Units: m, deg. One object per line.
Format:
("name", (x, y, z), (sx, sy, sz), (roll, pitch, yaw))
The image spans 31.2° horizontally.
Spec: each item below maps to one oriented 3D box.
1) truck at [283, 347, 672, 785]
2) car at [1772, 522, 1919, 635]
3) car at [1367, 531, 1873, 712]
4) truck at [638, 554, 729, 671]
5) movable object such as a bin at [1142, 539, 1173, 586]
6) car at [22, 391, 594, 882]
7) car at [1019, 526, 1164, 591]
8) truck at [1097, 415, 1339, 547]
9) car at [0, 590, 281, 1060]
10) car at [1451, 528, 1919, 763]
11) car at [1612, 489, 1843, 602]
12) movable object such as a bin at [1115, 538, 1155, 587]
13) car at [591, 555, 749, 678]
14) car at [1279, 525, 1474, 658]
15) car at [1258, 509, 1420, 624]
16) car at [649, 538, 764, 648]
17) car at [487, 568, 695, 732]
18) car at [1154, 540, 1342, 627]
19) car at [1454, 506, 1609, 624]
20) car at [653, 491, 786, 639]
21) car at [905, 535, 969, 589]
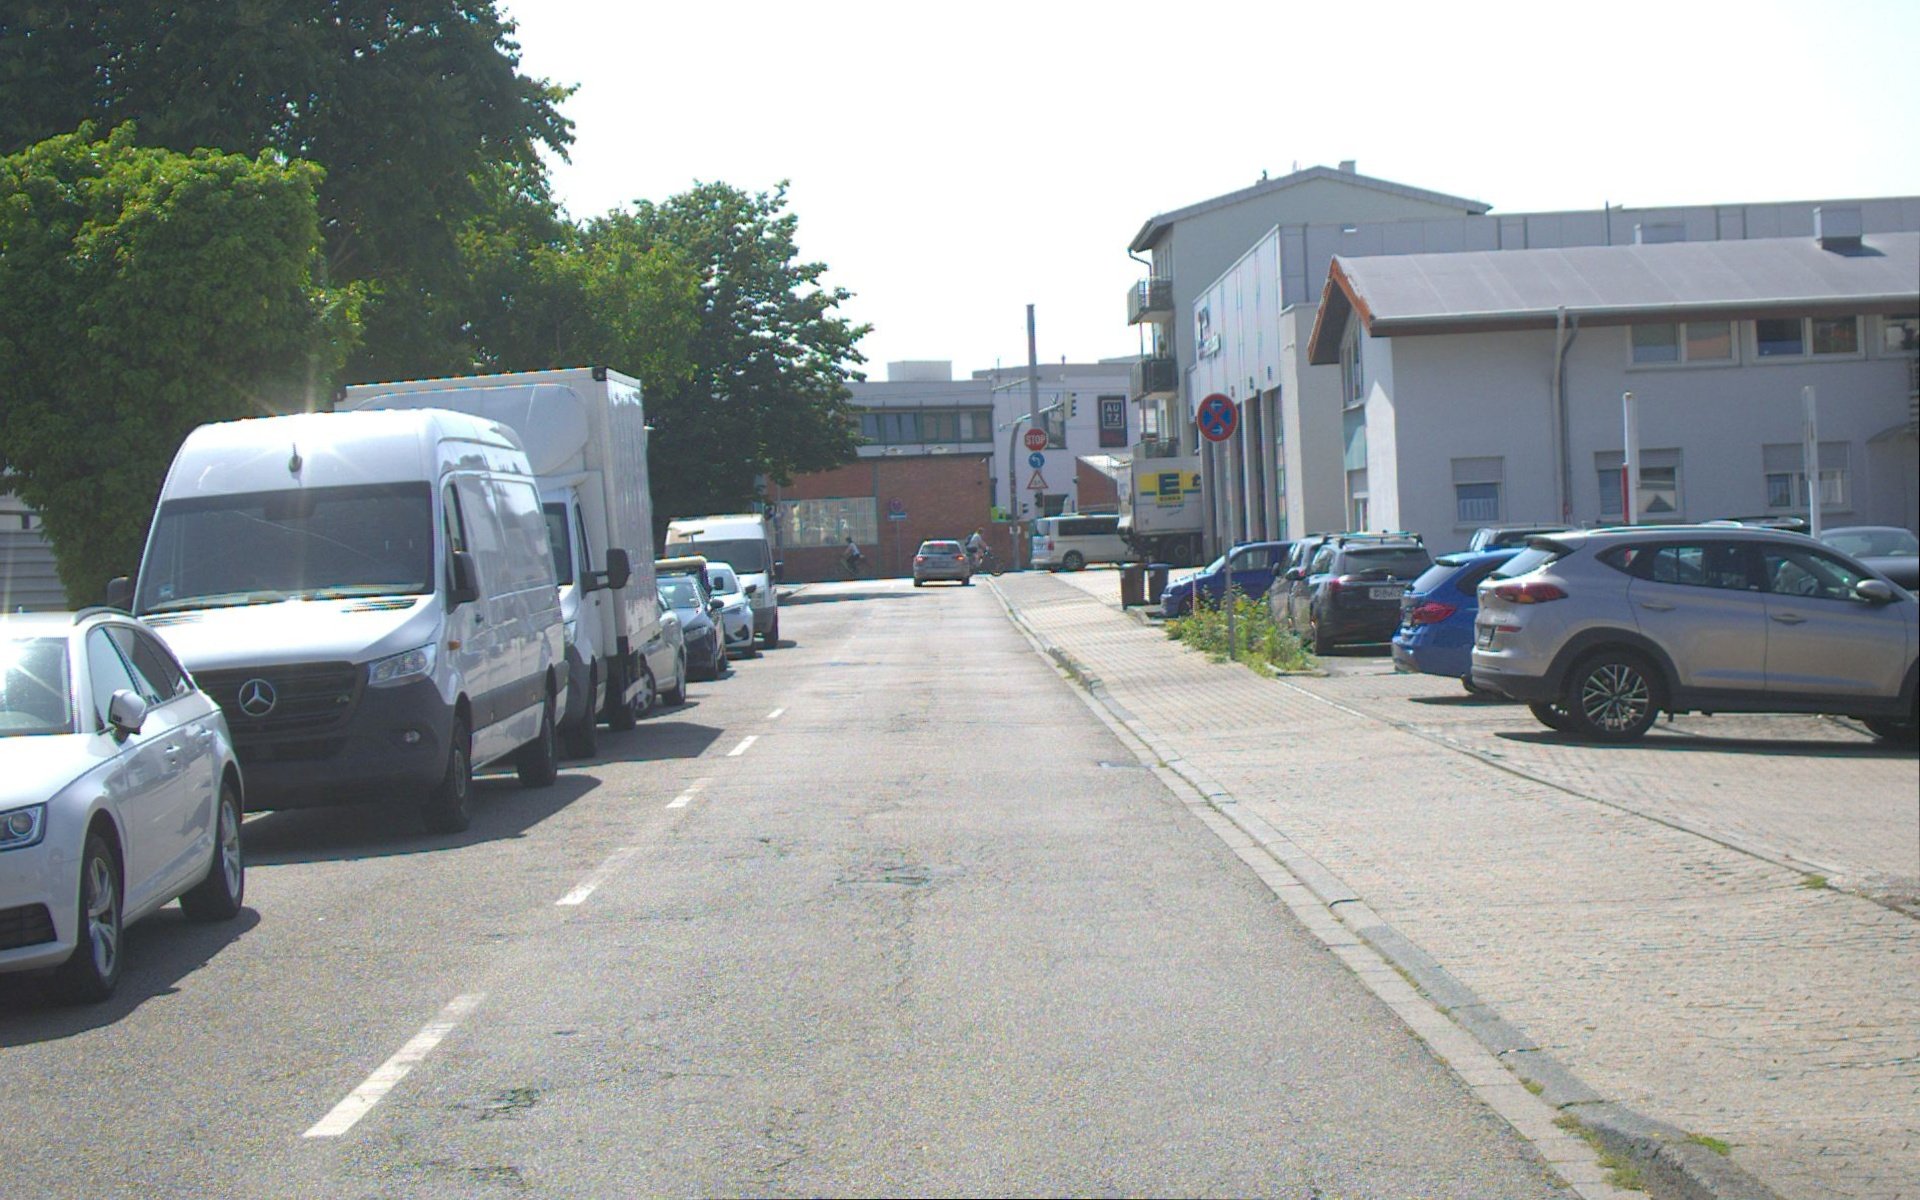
("truck", (-4.163, -0.304, 31.126), (2.685, 3.355, 7.131), (-3, 1, -3))
("car", (11.902, -0.313, 45.091), (1.642, 1.320, 4.101), (-3, 1, 2))
("car", (6.193, 0.182, 32.589), (4.352, 1.436, 1.892), (-3, 1, -1))
("truck", (-4.224, 0.161, 52.735), (1.138, 1.616, 3.142), (-5, 1, -2))
("movable object such as a bin", (4.089, -0.780, 71.227), (0.514, 0.943, 0.487), (-3, 2, 11))
("car", (-4.002, 0.162, 22.610), (2.168, 2.587, 6.920), (-4, 1, 1))
("car", (4.701, -1.476, 122.625), (4.653, 1.951, 1.916), (-5, 0, -19))
("truck", (8.545, -3.960, 114.347), (7.358, 3.632, 2.768), (-6, 2, -6))
("car", (-4.031, 0.811, 13.890), (1.714, 1.538, 4.401), (-4, 1, -1))
("car", (6.043, 0.341, 26.526), (4.201, 1.676, 1.767), (1, 1, -1))
("car", (11.458, -0.805, 51.598), (1.759, 1.490, 4.151), (-5, 1, -11))
("movable object such as a bin", (3.596, -0.772, 70.817), (0.568, 0.943, 0.556), (-2, 2, 33))
("car", (-3.917, 0.188, 46.950), (1.704, 1.458, 4.114), (-4, 1, 0))
("car", (5.476, -0.157, 45.779), (1.858, 1.562, 4.952), (-3, 1, -1))
("car", (5.607, -0.538, 51.328), (1.811, 1.553, 4.293), (-3, 1, -1))
("car", (-4.180, -0.138, 56.338), (1.704, 1.618, 3.974), (-4, 1, -5))
("car", (-3.917, 0.490, 37.116), (1.741, 1.516, 4.310), (-3, 1, 0))
("car", (5.271, -0.313, 63.221), (3.253, 1.394, 1.673), (-3, 1, 0))
("car", (8.056, -0.529, 48.716), (1.760, 1.589, 3.619), (0, 2, 3))
("car", (-4.250, -0.659, 61.506), (2.005, 2.358, 5.230), (-5, 2, -2))
("car", (-0.782, -1.240, 113.041), (1.890, 1.679, 3.958), (-3, 1, -3))
